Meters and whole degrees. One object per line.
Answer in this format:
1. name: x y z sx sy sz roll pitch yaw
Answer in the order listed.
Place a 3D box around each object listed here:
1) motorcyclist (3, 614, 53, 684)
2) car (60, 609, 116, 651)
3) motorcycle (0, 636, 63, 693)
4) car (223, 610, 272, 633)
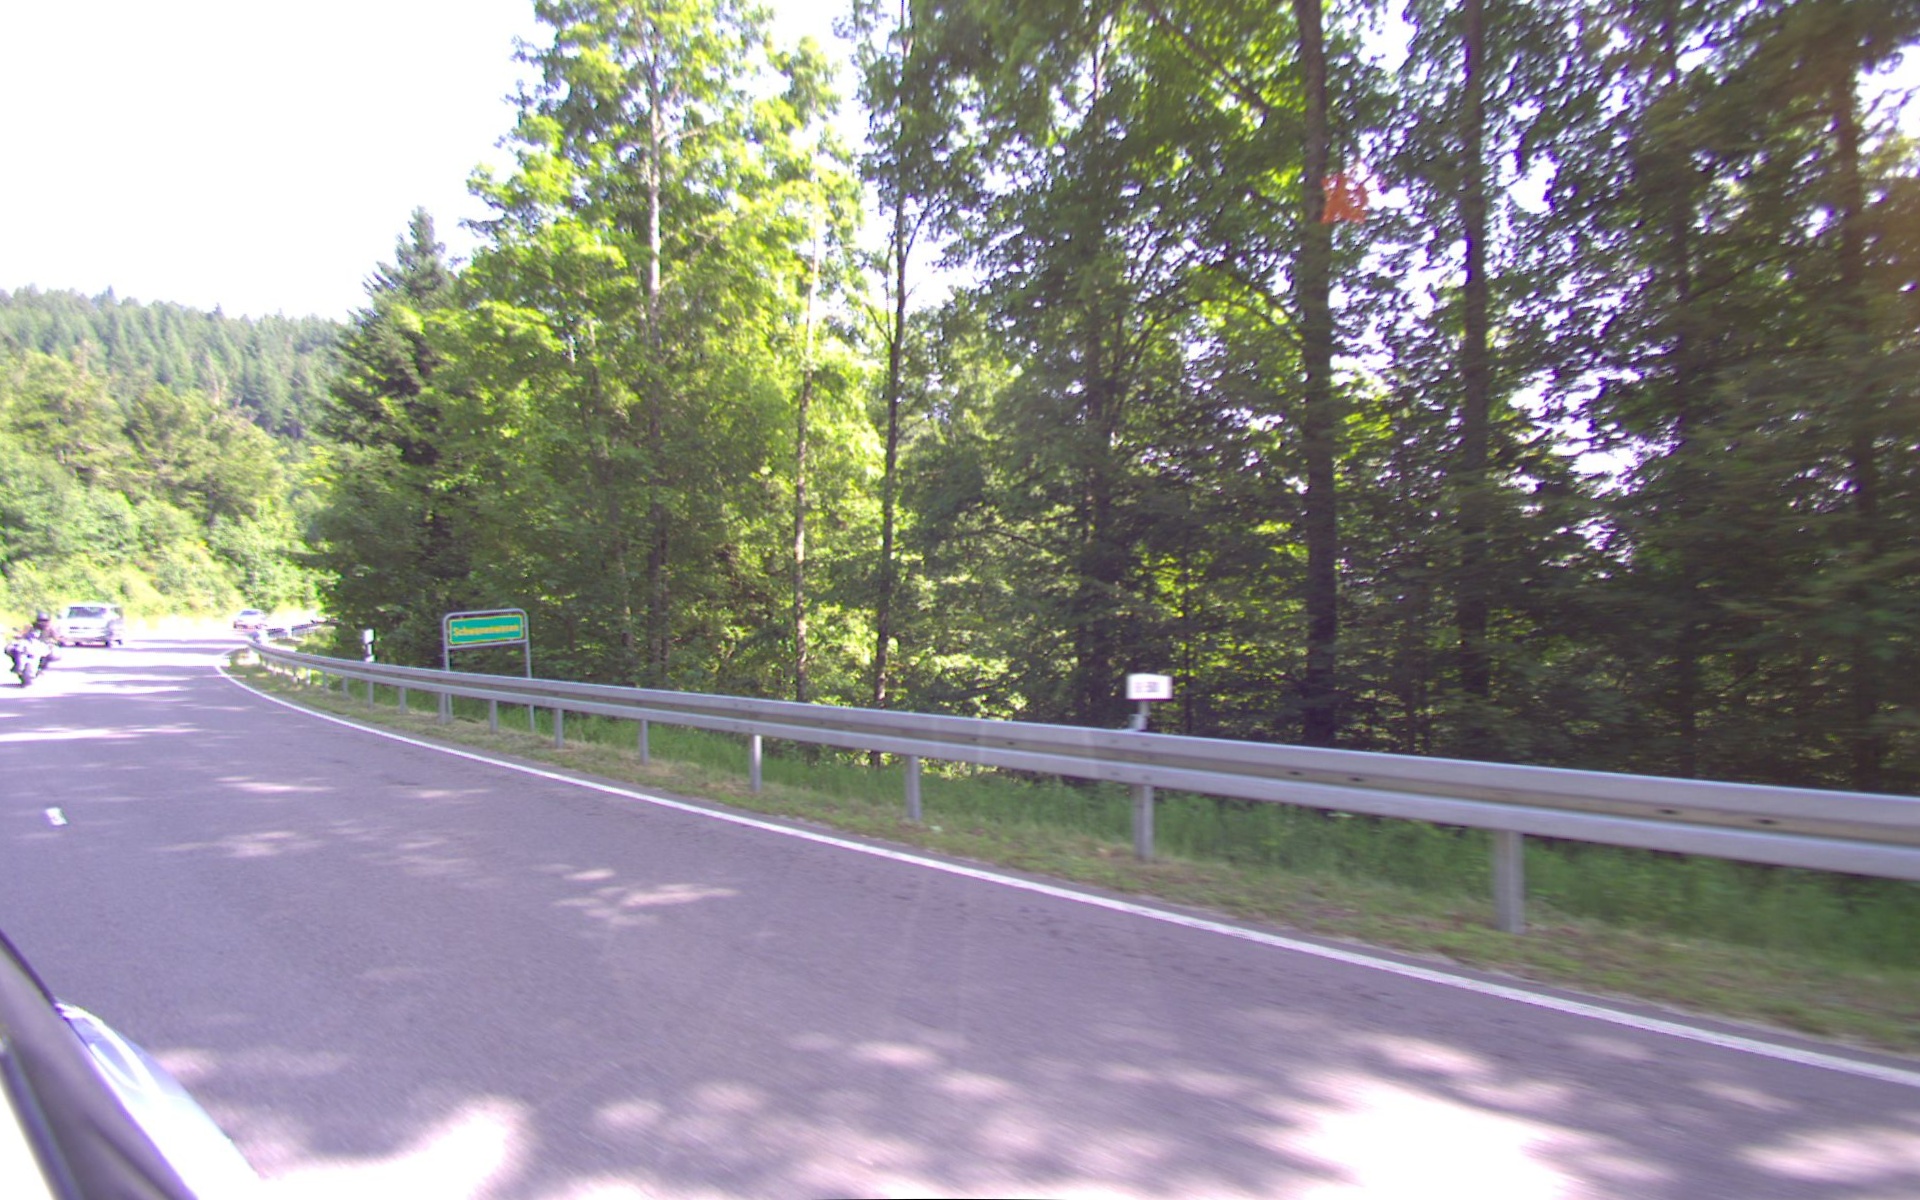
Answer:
1. motorcyclist: -20.017 1.029 21.753 0.706 1.441 1.001 -1 -1 -39
2. car: -38.964 1.338 45.290 1.627 1.773 3.802 2 -2 -38
3. motorcycle: -20.092 1.356 21.786 1.093 1.132 1.964 2 -2 -40
4. car: -55.177 1.649 78.435 1.966 1.655 4.012 0 0 -16
